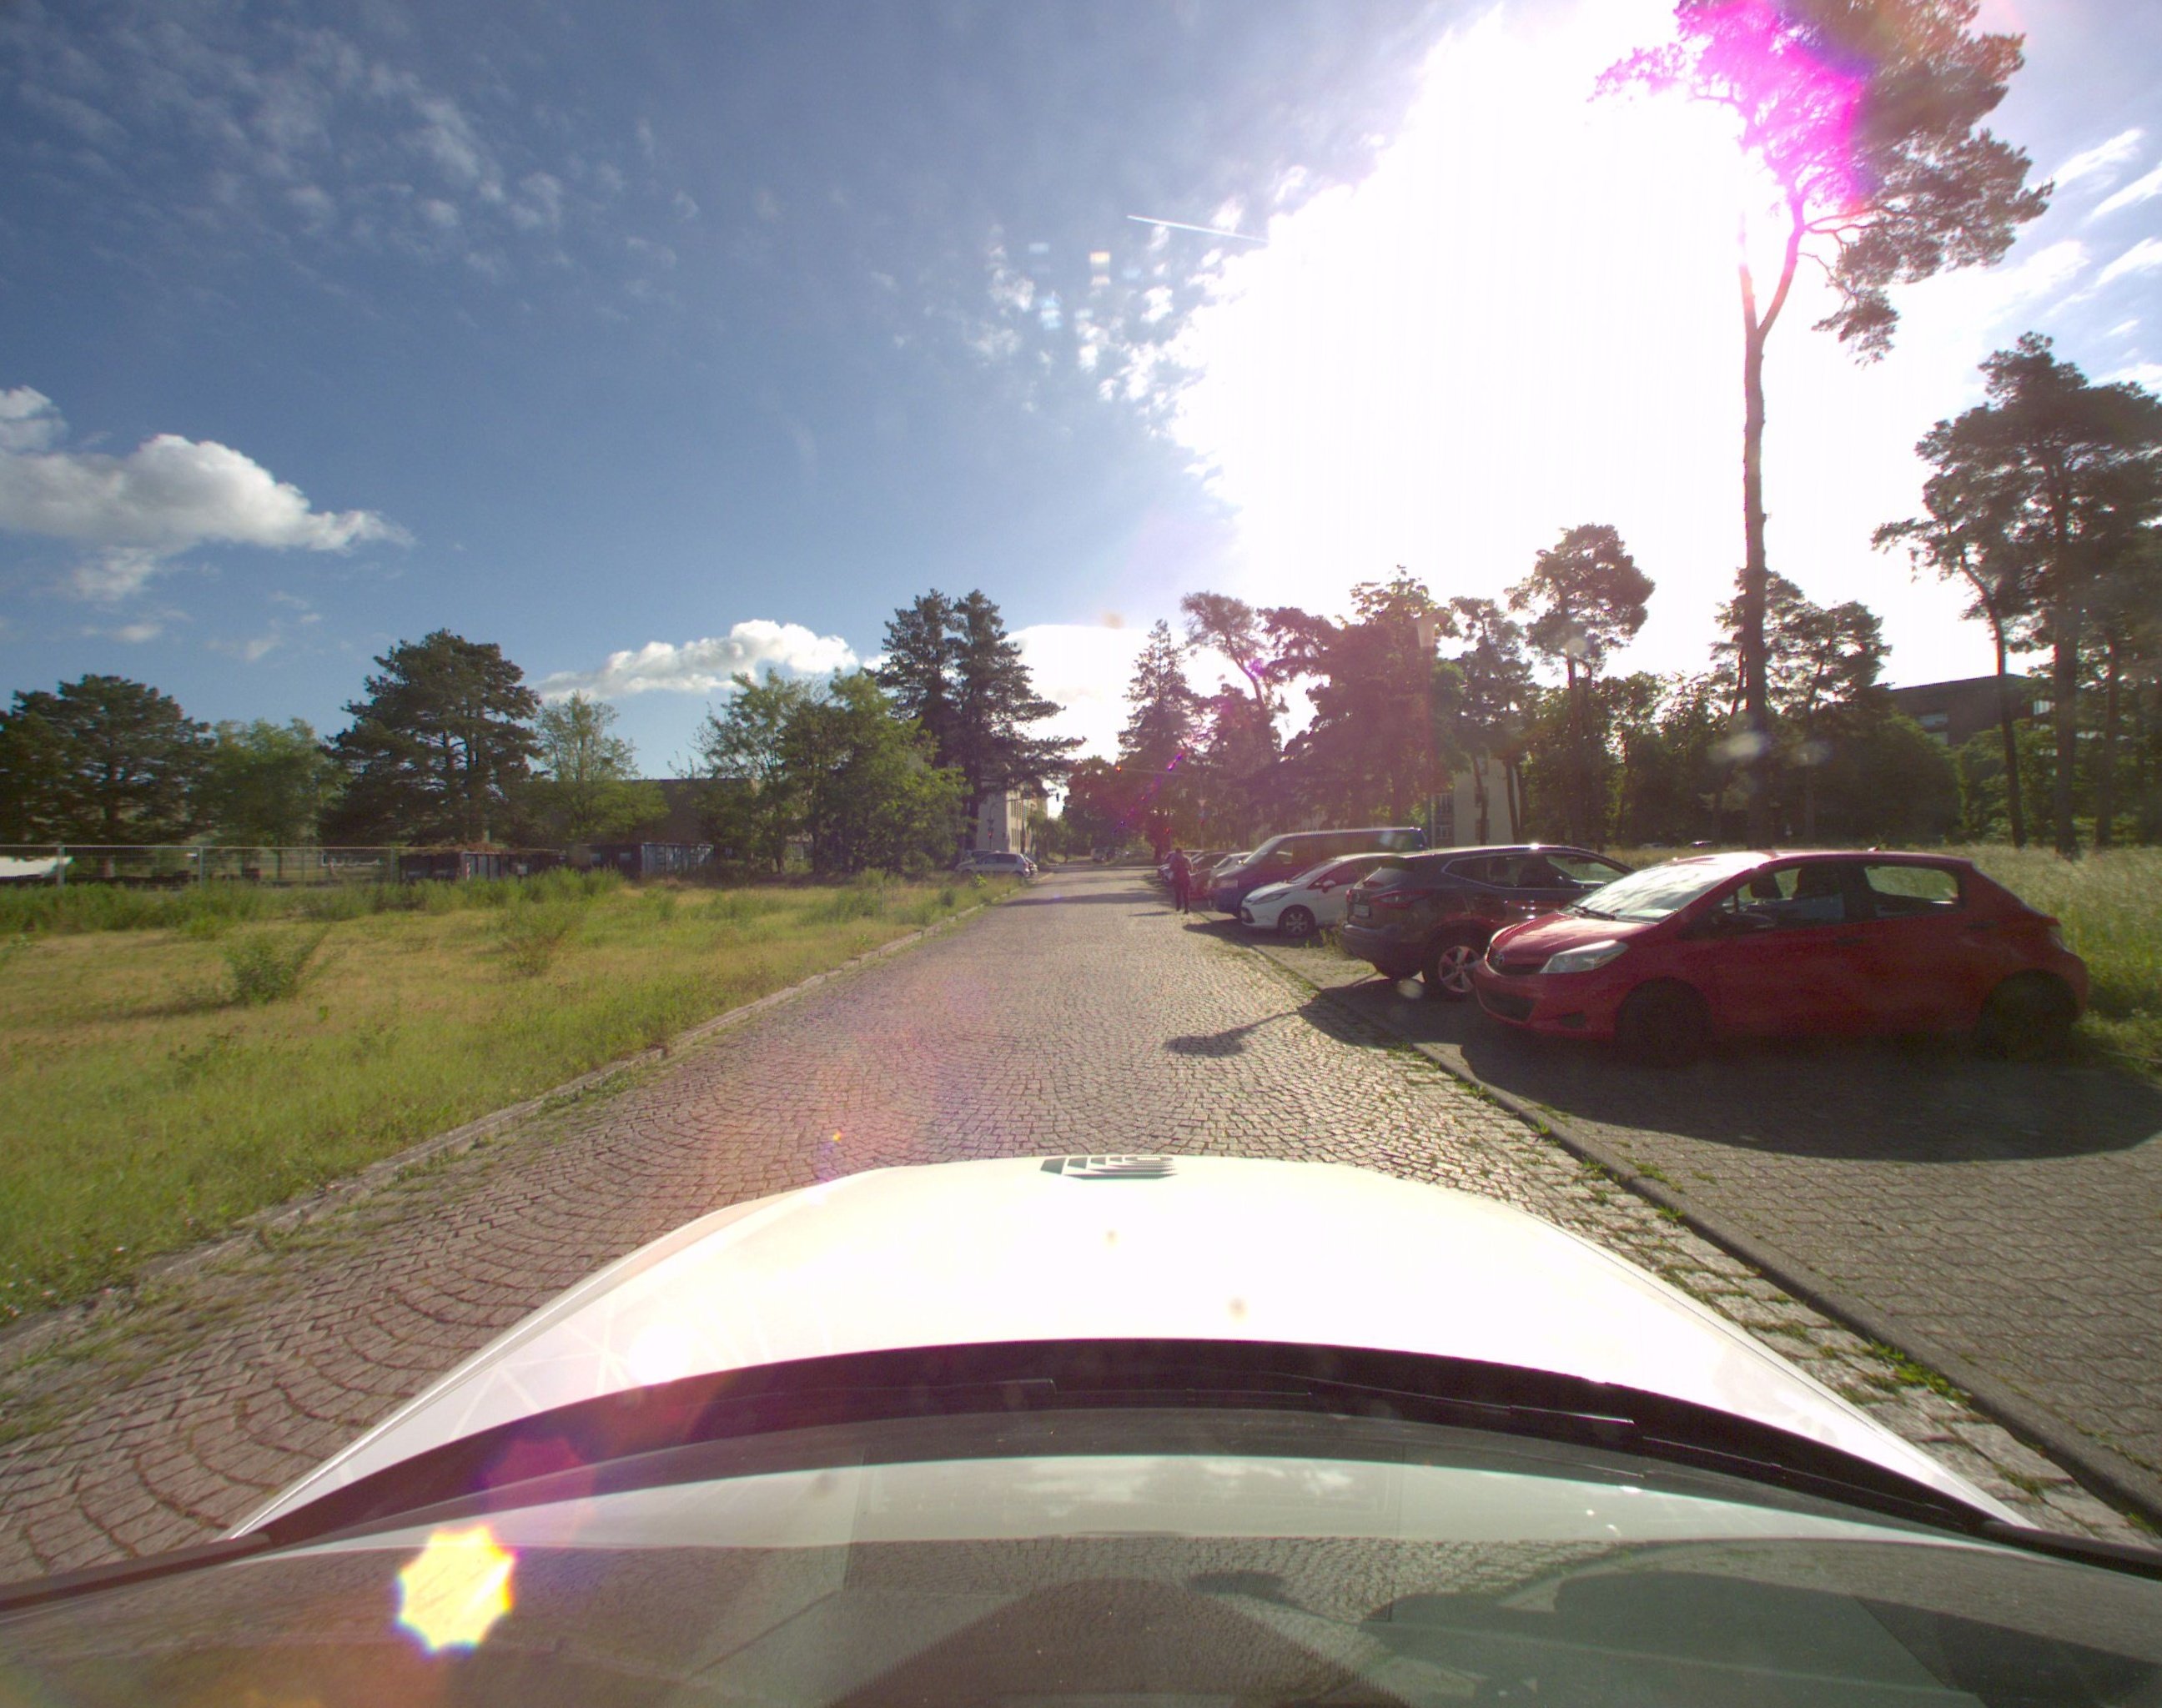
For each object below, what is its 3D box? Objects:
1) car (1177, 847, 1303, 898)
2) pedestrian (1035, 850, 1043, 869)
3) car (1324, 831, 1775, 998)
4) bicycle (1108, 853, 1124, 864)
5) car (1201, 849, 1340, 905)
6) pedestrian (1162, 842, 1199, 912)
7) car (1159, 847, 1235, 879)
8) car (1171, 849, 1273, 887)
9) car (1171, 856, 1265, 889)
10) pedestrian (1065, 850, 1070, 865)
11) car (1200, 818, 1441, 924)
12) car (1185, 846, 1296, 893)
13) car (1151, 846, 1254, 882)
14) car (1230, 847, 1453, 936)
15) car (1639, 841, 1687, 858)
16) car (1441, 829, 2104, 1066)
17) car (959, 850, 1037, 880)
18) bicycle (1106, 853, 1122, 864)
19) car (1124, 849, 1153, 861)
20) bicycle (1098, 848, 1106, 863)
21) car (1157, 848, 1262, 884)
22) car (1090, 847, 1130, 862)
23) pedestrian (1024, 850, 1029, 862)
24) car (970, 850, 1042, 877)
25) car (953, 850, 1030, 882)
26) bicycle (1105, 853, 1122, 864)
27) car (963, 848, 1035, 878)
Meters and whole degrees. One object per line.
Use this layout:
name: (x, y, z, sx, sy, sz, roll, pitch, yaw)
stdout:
car: (5.079, 0.568, 26.341, 3.765, 1.450, 1.759, -2, 0, 2)
pedestrian: (-3.963, 0.488, 76.304, 0.609, 1.752, 0.626, -1, 0, -20)
car: (5.066, 0.615, 9.223, 4.094, 1.611, 1.786, -1, 0, -1)
bicycle: (3.990, 0.472, 92.007, 1.723, 1.164, 0.560, -1, 0, -3)
car: (5.407, 0.635, 23.524, 3.631, 1.492, 1.635, -1, 0, 1)
pedestrian: (2.564, 0.590, 21.057, 0.750, 1.725, 0.829, 4, 0, 1)
car: (5.920, 0.465, 41.789, 3.660, 1.443, 1.666, -2, 0, 1)
car: (5.866, 0.570, 34.189, 3.966, 1.448, 1.656, -2, 0, 0)
car: (5.308, 0.709, 31.806, 3.447, 1.242, 1.537, -1, 0, 1)
pedestrian: (-1.805, 0.423, 106.652, 0.592, 2.013, 0.573, -1, 0, 1)
car: (5.190, 0.354, 18.161, 4.736, 2.013, 2.001, -3, 0, 1)
car: (5.688, 0.544, 29.287, 3.650, 1.455, 1.667, -3, 0, 1)
car: (5.804, 0.471, 39.250, 4.606, 1.455, 1.869, -3, 0, -1)
car: (4.872, 0.669, 15.537, 3.709, 1.467, 1.609, -2, 0, -1)
car: (59.597, -0.463, 83.371, 3.620, 1.671, 1.769, -1, 0, 3)
car: (5.170, 0.649, 6.513, 3.811, 1.538, 1.704, -2, 0, 1)
car: (-4.406, 0.577, 43.756, 3.925, 1.445, 1.690, 2, 0, 0)
bicycle: (3.738, 0.513, 91.328, 1.723, 1.112, 0.483, -1, 0, -3)
car: (7.948, 0.180, 112.556, 3.739, 1.580, 1.738, -1, 0, -6)
bicycle: (2.259, 0.158, 87.604, 0.750, 1.580, 2.537, -1, 0, 1)
car: (5.713, 0.530, 36.610, 4.385, 1.388, 1.789, -2, 0, 0)
car: (3.893, 0.076, 108.730, 5.064, 1.918, 1.994, -1, 0, -9)
pedestrian: (-7.050, 0.258, 104.899, 0.606, 1.559, 0.544, -1, 0, -5)
car: (-4.500, 0.581, 49.145, 3.967, 1.496, 1.775, 1, 0, 5)
car: (-4.493, 0.592, 41.090, 3.675, 1.527, 1.698, 2, 0, -2)
bicycle: (3.656, 0.515, 90.785, 1.829, 1.112, 0.495, -1, 0, -3)
car: (-4.647, 0.511, 46.404, 3.867, 1.615, 1.660, 1, 0, 0)
